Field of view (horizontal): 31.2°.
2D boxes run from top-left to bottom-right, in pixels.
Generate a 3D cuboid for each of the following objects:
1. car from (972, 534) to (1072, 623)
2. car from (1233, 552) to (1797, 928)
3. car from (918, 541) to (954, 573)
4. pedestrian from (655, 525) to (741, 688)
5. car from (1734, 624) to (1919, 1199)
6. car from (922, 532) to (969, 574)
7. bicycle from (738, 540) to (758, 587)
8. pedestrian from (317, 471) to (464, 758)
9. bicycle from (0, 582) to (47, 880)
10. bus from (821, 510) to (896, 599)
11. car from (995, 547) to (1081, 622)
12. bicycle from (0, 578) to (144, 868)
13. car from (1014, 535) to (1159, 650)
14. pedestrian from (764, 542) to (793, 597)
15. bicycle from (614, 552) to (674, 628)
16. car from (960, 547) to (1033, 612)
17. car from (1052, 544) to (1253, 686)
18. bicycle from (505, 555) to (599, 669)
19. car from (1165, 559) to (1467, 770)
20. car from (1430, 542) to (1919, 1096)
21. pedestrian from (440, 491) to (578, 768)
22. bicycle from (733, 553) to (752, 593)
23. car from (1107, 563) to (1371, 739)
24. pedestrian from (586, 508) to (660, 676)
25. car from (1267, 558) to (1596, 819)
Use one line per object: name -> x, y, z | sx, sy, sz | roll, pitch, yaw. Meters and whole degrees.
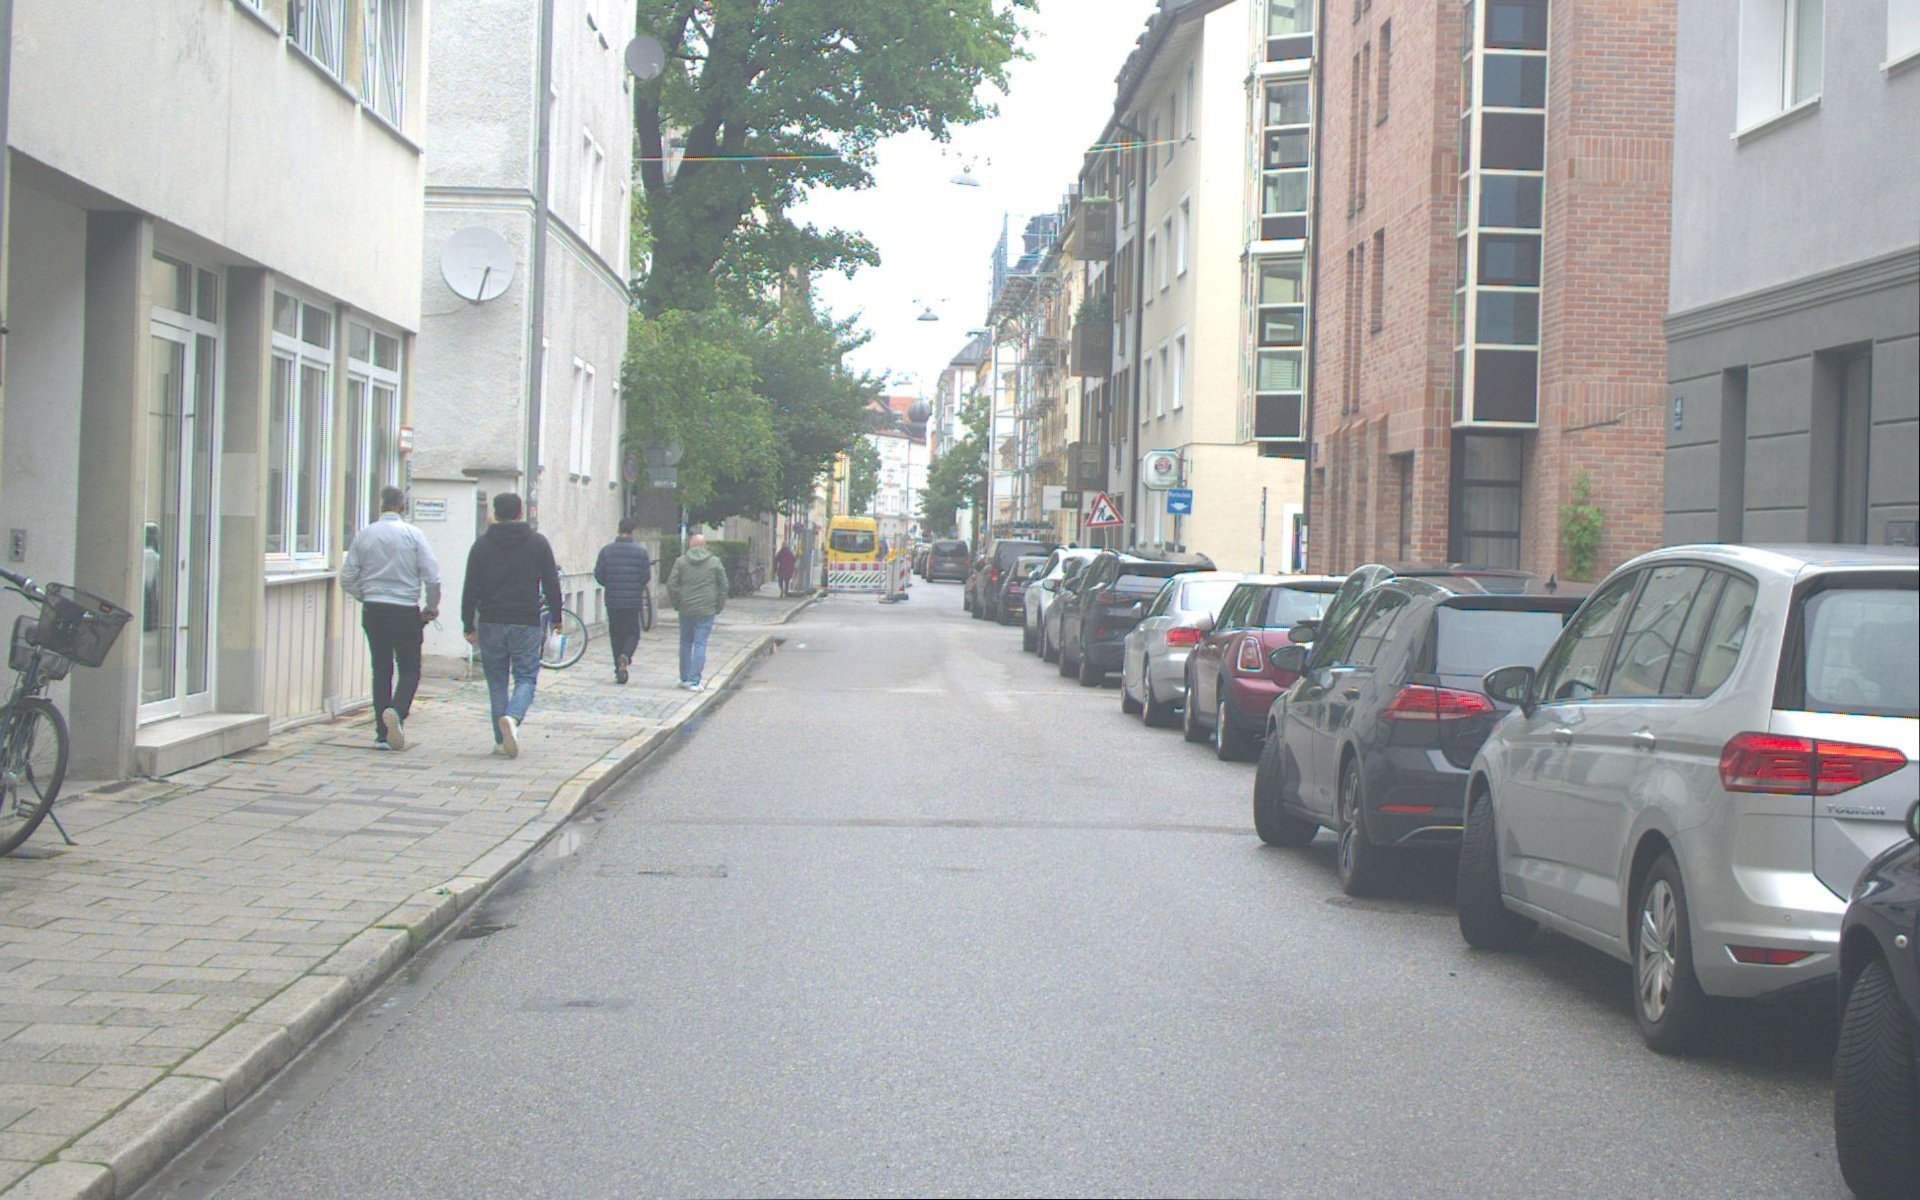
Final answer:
car -> 1.380, -0.522, 78.125 | 1.801, 1.814, 4.001 | 5, 1, -3
car -> 2.537, 0.568, 16.788 | 1.839, 1.523, 4.293 | 2, 1, -2
car -> -1.288, -2.310, 184.179 | 1.801, 1.608, 4.000 | 2, 1, -1
pedestrian -> -2.753, 0.065, 36.166 | 0.753, 1.653, 0.906 | 4, 0, -1
car -> 2.957, 0.789, 6.989 | 1.808, 1.358, 3.945 | 1, 1, -1
car -> -0.669, -2.131, 155.814 | 1.801, 1.706, 3.827 | 5, 1, -3
bicycle -> -6.450, -1.104, 104.589 | 0.514, 1.413, 1.934 | 1, 0, -2
pedestrian -> -3.703, 0.089, 22.400 | 0.718, 1.790, 0.917 | 3, 0, -1
bicycle -> -3.956, 0.509, 13.106 | 0.458, 1.155, 1.605 | 4, 0, 0
bus -> -3.626, -1.627, 123.916 | 2.592, 3.091, 6.306 | 1, 0, -1
car -> 1.644, -0.353, 73.770 | 1.624, 1.482, 3.808 | 2, 1, -1
bicycle -> -3.918, 0.496, 14.823 | 0.561, 1.155, 1.721 | 2, 0, -7
car -> 1.874, -0.142, 52.009 | 1.748, 1.624, 4.197 | 1, 1, -4
pedestrian -> -4.977, -0.835, 94.239 | 0.756, 1.486, 0.831 | 1, 0, -1
bicycle -> -4.825, -0.160, 52.387 | 0.473, 1.107, 1.761 | 2, 1, -19
car -> 0.939, -0.561, 90.005 | 1.635, 1.509, 3.829 | 5, 1, -2
car -> 2.274, 0.135, 41.651 | 1.885, 1.550, 4.392 | 2, 1, -3
bicycle -> -4.495, 0.119, 37.781 | 0.641, 1.213, 1.665 | 1, 0, -20
car -> 2.731, 0.448, 27.210 | 1.745, 1.457, 4.151 | 2, 1, -2
car -> 2.972, 0.592, 11.908 | 1.875, 1.565, 4.317 | 0, 1, -3
pedestrian -> -2.971, 0.186, 22.717 | 0.718, 1.759, 0.838 | 3, 0, -1
bicycle -> -5.800, -0.722, 91.795 | 0.446, 1.069, 2.468 | 1, 0, -3
car -> 2.497, 0.415, 31.807 | 1.836, 1.412, 4.601 | 2, 1, -2
pedestrian -> -3.529, -0.083, 36.083 | 0.612, 1.707, 0.823 | 4, 0, -2
car -> 2.986, 0.517, 22.346 | 1.521, 1.506, 3.202 | 2, 1, -2
